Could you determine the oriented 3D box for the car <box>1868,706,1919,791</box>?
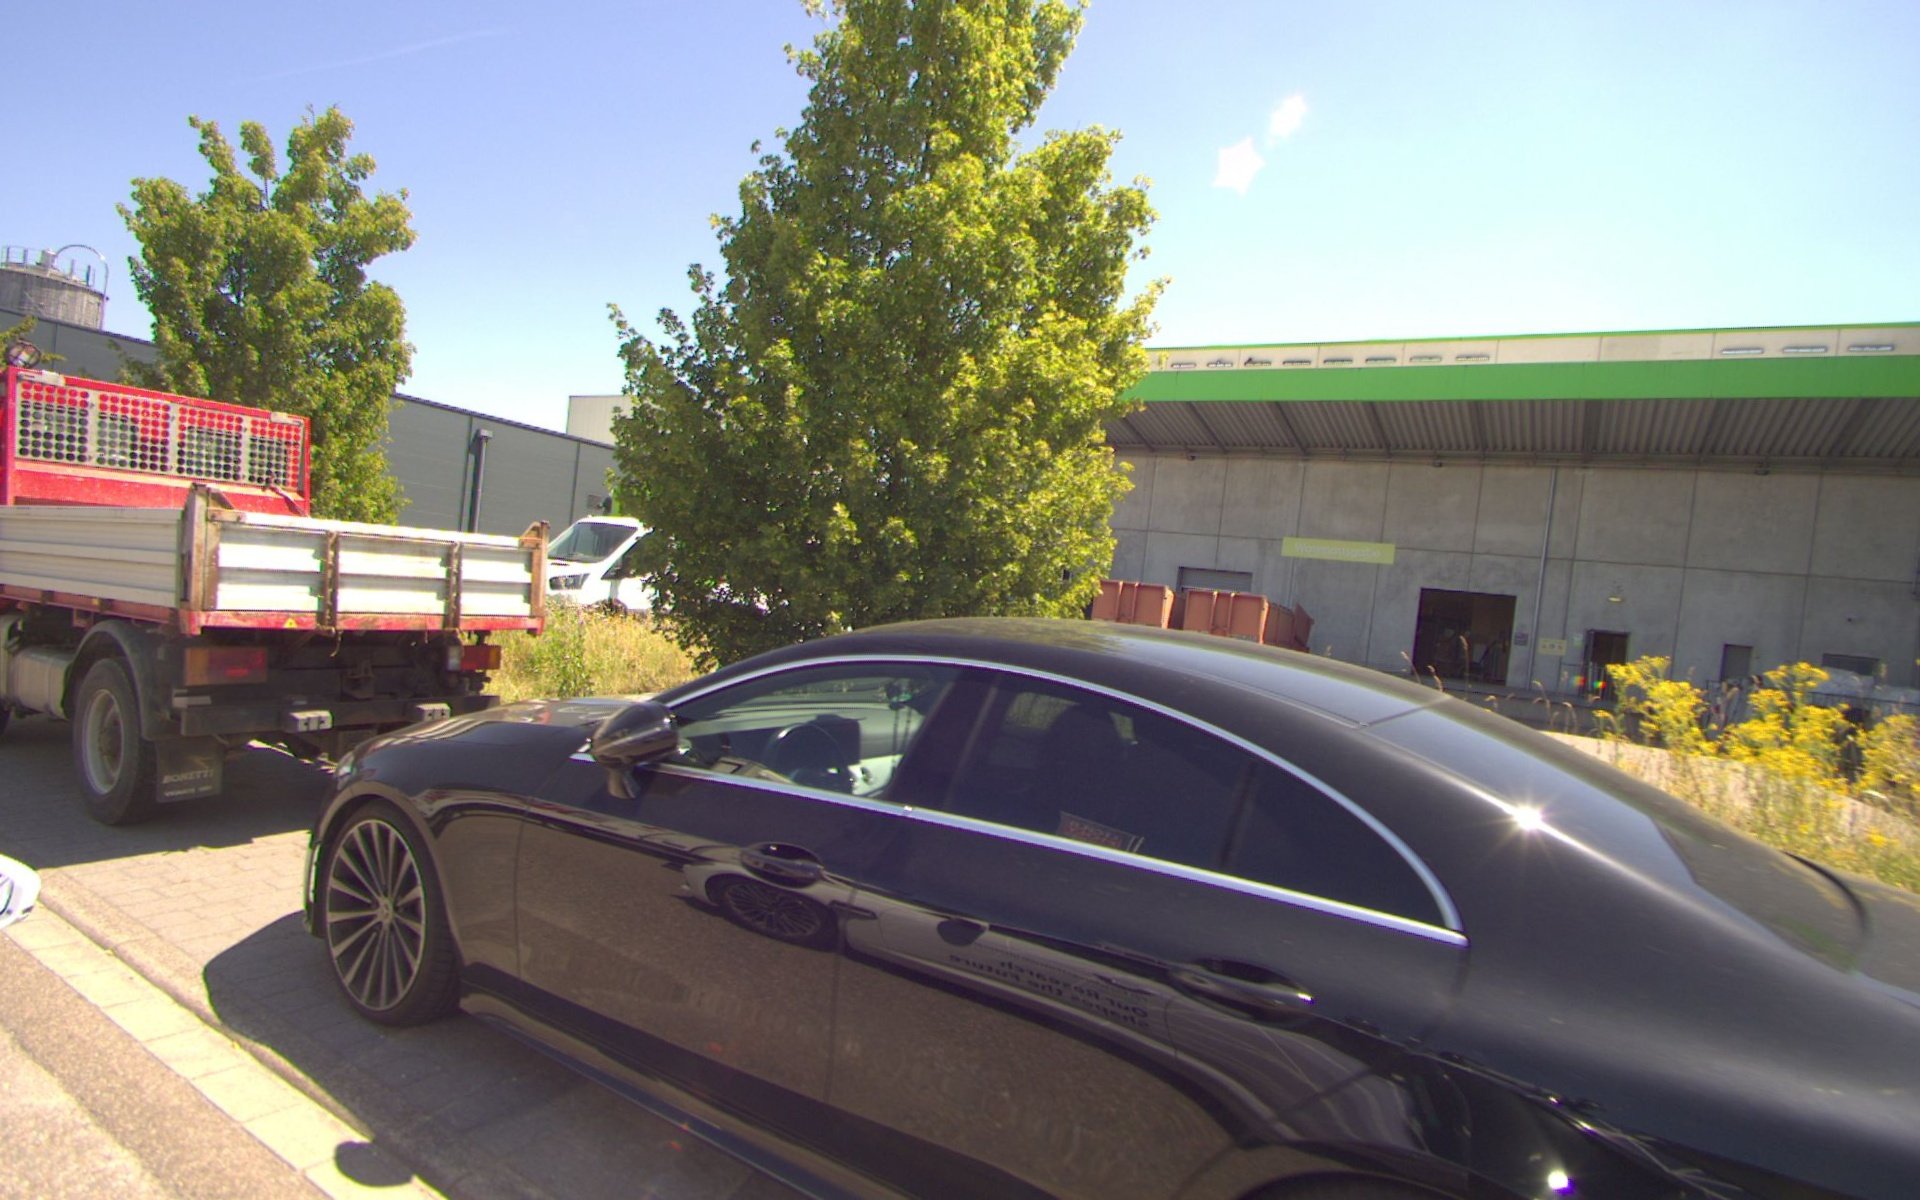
[{"bbox_3d":[20.138,3.107,20.711,1.525,1.552,3.388,6,0,34],"label":"car"}]

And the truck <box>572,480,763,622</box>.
[{"bbox_3d":[-9.305,-1.481,32.476,2.758,3.923,5.067,6,0,32],"label":"truck"}]

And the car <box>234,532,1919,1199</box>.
[{"bbox_3d":[0.002,0.714,2.871,4.758,1.402,1.698,6,2,32],"label":"car"}]

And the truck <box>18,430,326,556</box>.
[{"bbox_3d":[-32.936,-4.287,42.842,2.981,3.871,10.003,6,1,22],"label":"truck"}]

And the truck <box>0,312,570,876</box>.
[{"bbox_3d":[-4.413,-0.185,5.779,4.317,2.211,1.679,6,2,32],"label":"truck"}]

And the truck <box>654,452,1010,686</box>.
[{"bbox_3d":[-1.656,-0.309,15.787,2.267,2.908,5.910,6,0,29],"label":"truck"}]

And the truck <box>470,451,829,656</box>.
[{"bbox_3d":[-5.226,-0.635,17.982,2.374,2.950,5.827,6,0,31],"label":"truck"}]

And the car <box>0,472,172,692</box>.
[{"bbox_3d":[-8.378,-0.301,8.200,3.933,1.551,1.739,6,2,31],"label":"car"}]
